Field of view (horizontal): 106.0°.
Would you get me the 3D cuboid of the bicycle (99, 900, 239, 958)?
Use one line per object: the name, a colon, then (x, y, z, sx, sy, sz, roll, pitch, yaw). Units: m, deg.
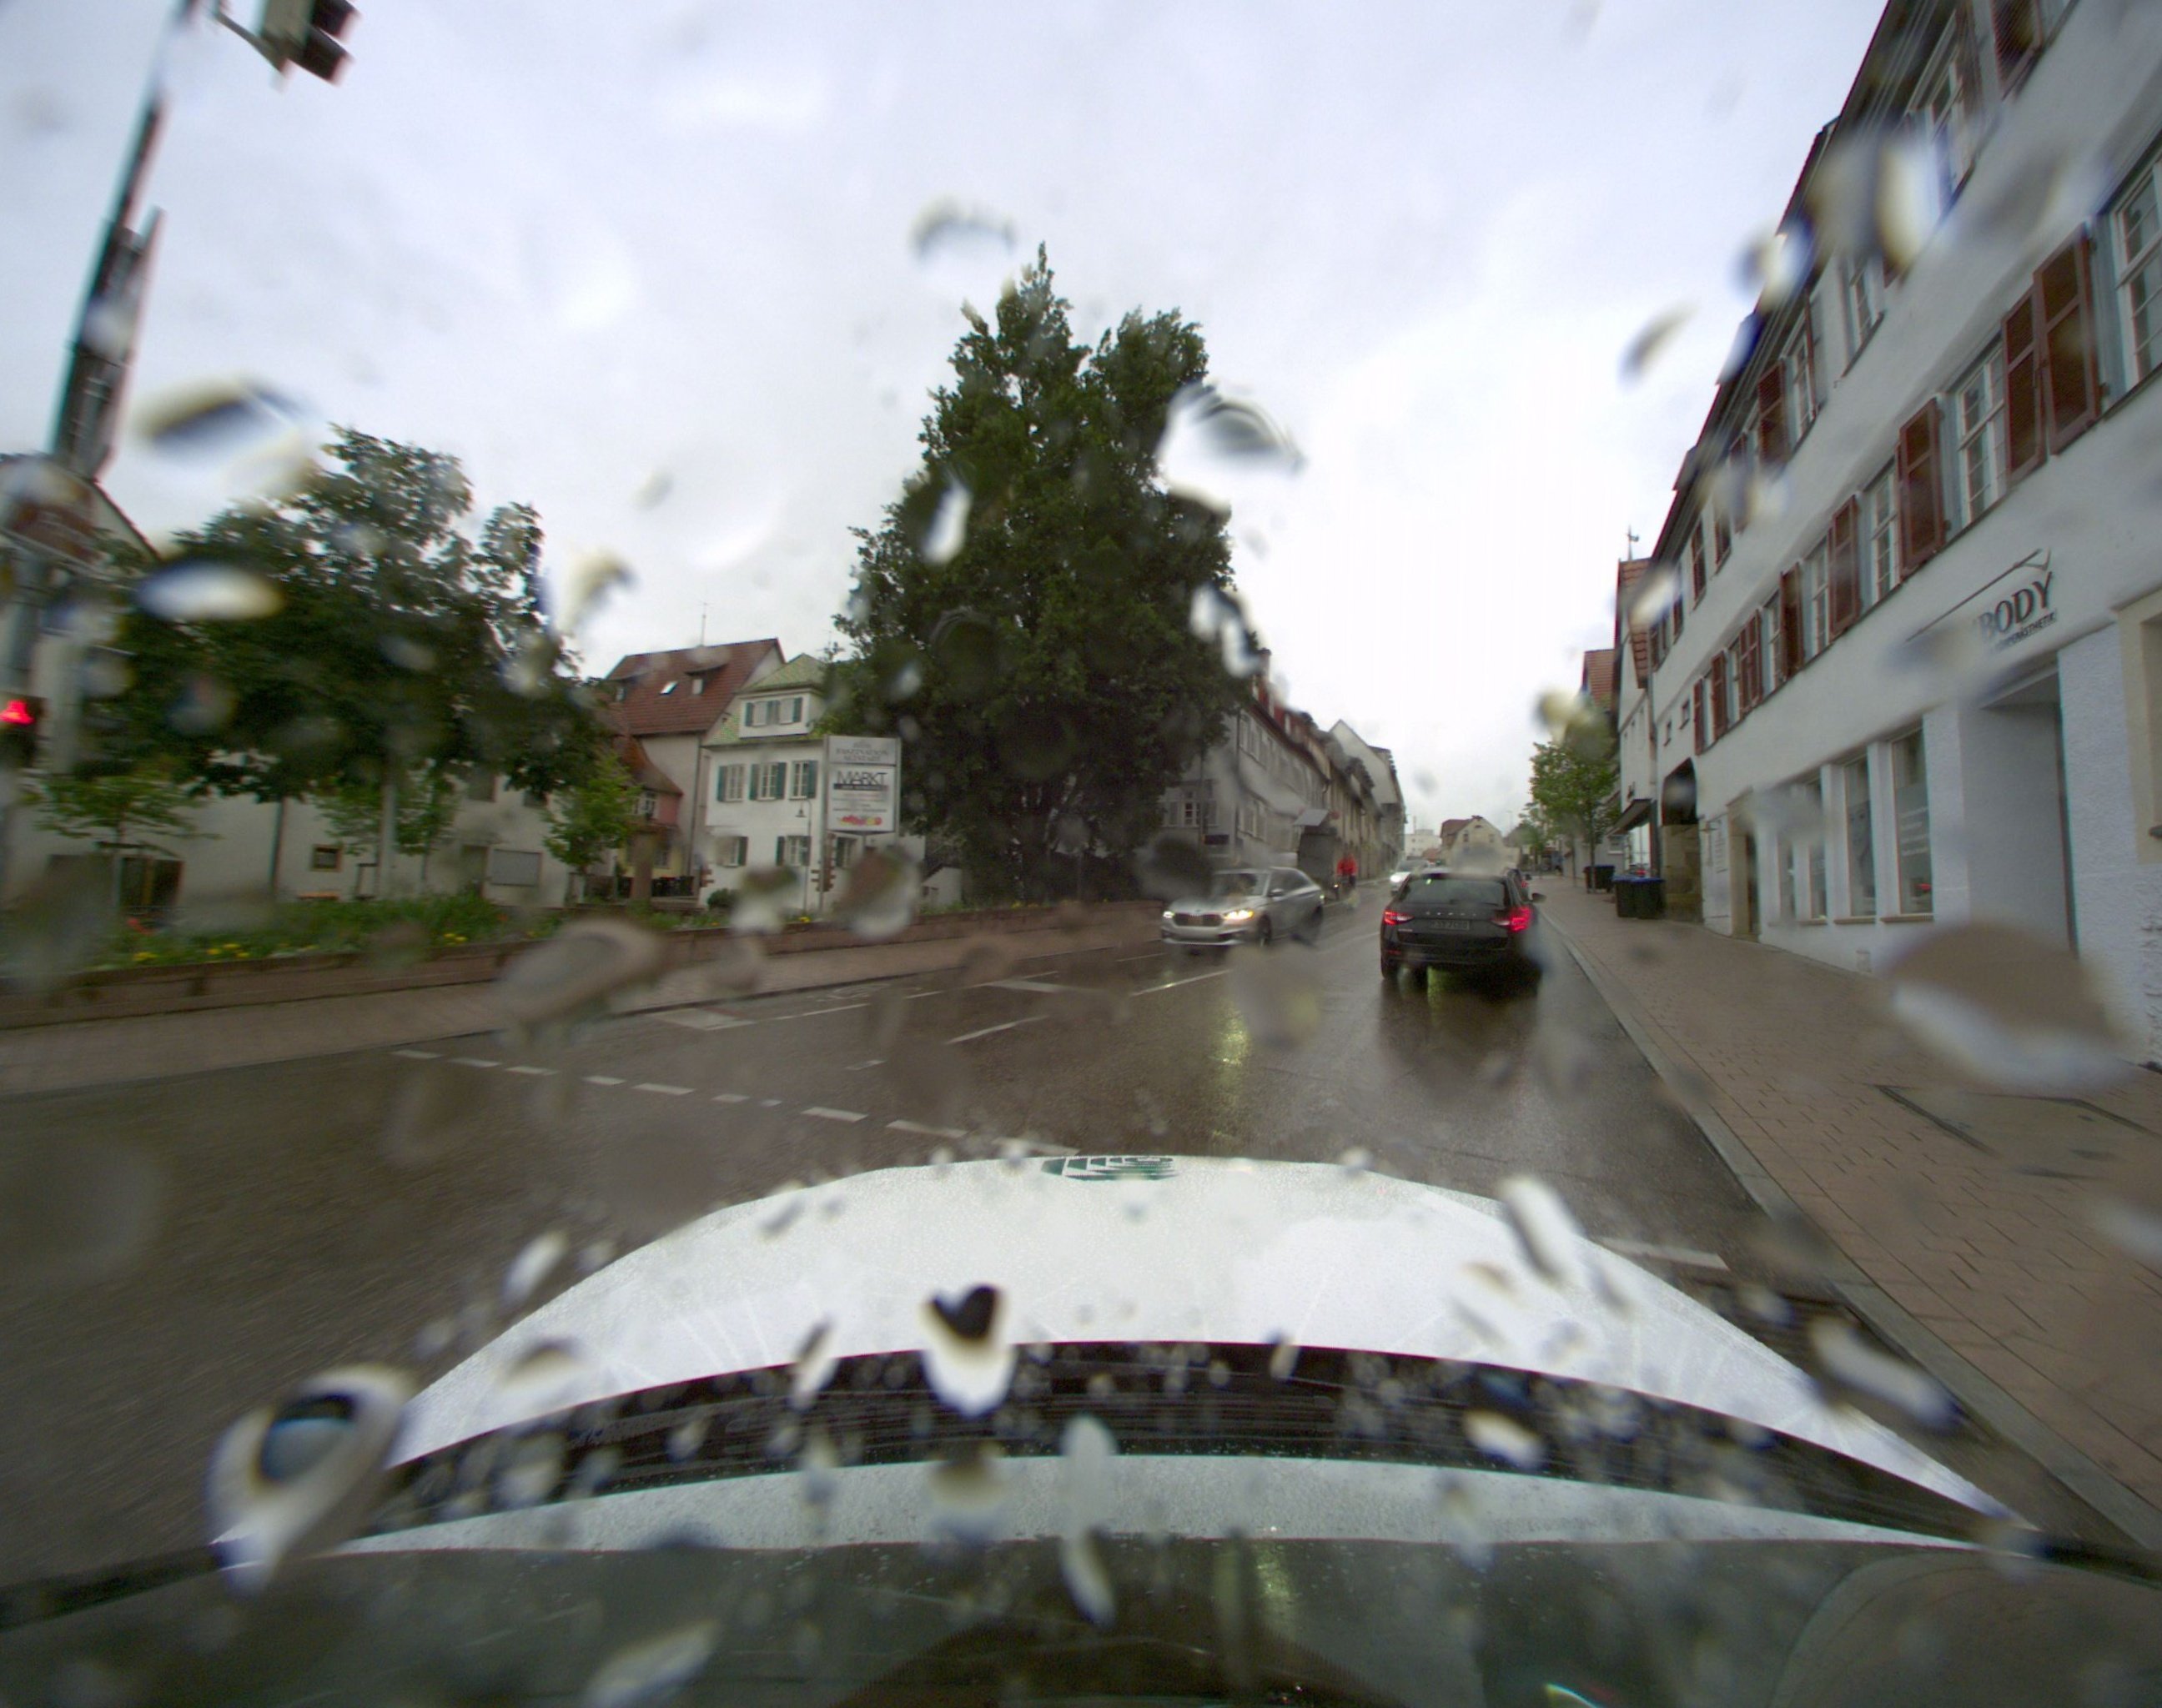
bicycle: (-15.520, 1.260, 13.902, 0.388, 0.912, 1.478, 4, -2, 25)

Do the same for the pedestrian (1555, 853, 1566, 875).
pedestrian: (38.442, 0.830, 65.266, 0.698, 1.725, 0.837, 1, 0, 29)

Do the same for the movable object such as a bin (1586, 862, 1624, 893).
movable object such as a bin: (23.846, 1.044, 37.067, 1.275, 1.350, 1.496, 0, -1, 26)

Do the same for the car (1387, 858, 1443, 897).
car: (15.919, 1.114, 38.691, 1.855, 1.662, 4.334, -4, -3, 29)

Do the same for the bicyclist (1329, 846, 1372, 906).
bicyclist: (9.166, 0.755, 27.707, 1.125, 2.014, 0.885, -2, -2, 33)

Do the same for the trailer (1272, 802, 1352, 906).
trailer: (8.675, 0.050, 30.301, 1.975, 3.534, 4.602, 0, -2, 27)

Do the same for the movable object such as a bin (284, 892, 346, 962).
movable object such as a bin: (-14.842, 1.415, 15.801, 0.688, 1.277, 0.740, 7, -5, -39)

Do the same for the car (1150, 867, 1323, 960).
car: (2.905, 0.976, 14.612, 1.646, 1.428, 3.895, -3, -2, 33)

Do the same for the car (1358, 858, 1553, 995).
car: (5.188, 0.796, 10.923, 1.868, 1.448, 4.384, 0, -1, 31)

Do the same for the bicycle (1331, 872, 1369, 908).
bicycle: (9.158, 1.196, 27.674, 0.740, 1.163, 2.170, 0, -1, 33)

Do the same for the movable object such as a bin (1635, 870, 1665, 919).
movable object such as a bin: (14.603, 1.046, 20.915, 0.618, 1.206, 0.609, 0, -6, 34)

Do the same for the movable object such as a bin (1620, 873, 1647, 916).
movable object such as a bin: (14.649, 1.072, 21.602, 0.562, 1.109, 0.680, 0, -5, 33)

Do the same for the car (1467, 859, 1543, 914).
car: (12.562, 0.895, 24.038, 1.839, 1.473, 4.024, 0, -1, 29)

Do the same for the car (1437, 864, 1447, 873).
car: (63.589, 2.619, 143.490, 1.613, 1.530, 4.022, 1, 0, 24)

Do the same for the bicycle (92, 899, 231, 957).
bicycle: (-15.885, 1.264, 14.109, 0.388, 0.912, 1.478, 4, -2, 25)

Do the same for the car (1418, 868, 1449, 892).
car: (22.960, 1.658, 52.959, 1.757, 1.534, 3.731, 0, -1, 25)

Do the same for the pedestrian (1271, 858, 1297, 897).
pedestrian: (8.289, 0.953, 33.229, 0.700, 1.530, 1.051, 2, 0, 29)

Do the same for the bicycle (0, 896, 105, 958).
bicycle: (-16.434, 1.126, 12.670, 0.388, 0.912, 1.478, 4, -2, 25)
